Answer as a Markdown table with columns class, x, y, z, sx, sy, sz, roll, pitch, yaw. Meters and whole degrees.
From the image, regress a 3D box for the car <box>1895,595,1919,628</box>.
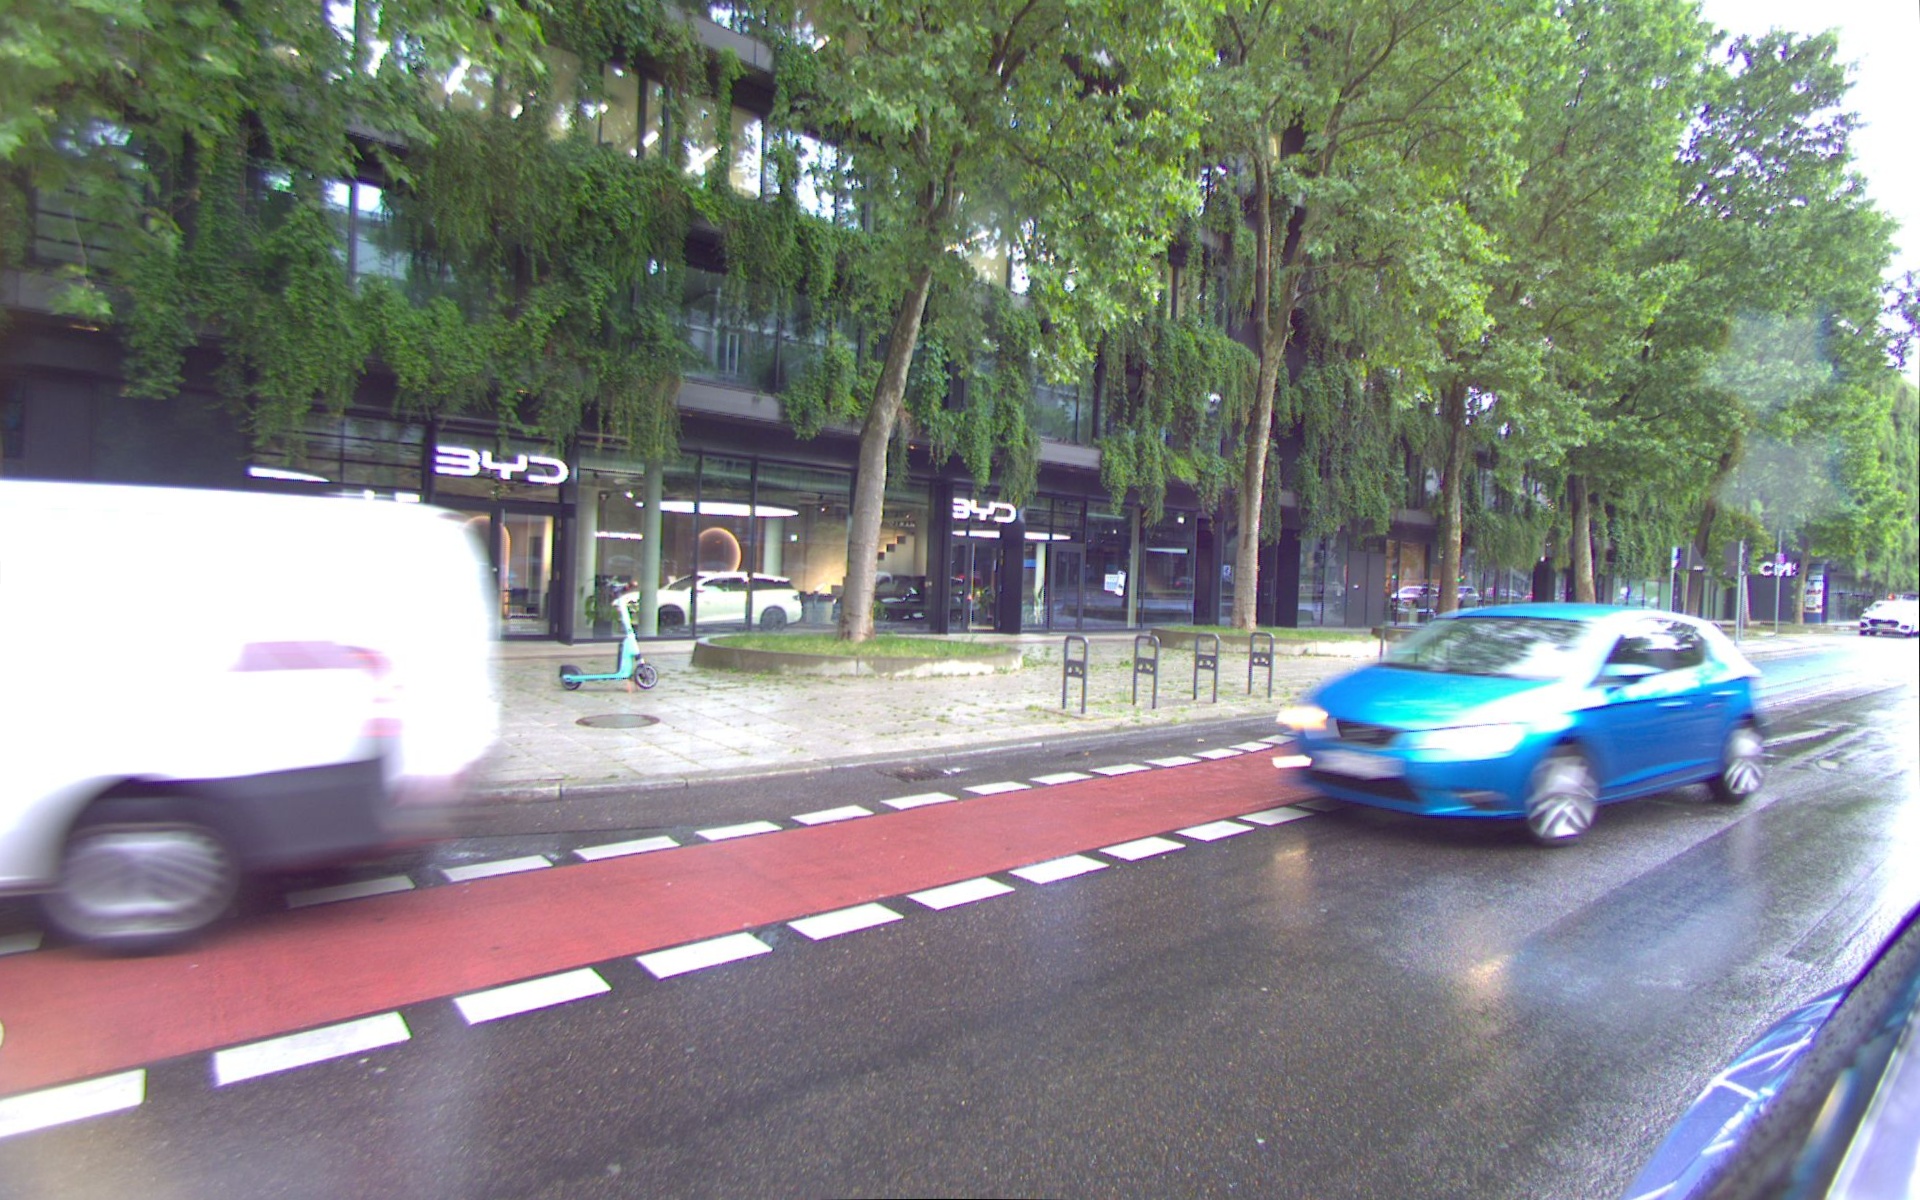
| class | x | y | z | sx | sy | sz | roll | pitch | yaw |
| --- | --- | --- | --- | --- | --- | --- | --- | --- | --- |
| car | 49.267 | 0.553 | 51.389 | 4.503 | 1.581 | 2.035 | -1 | 1 | -39 |

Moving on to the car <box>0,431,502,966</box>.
| class | x | y | z | sx | sy | sz | roll | pitch | yaw |
| --- | --- | --- | --- | --- | --- | --- | --- | --- | --- |
| car | -4.778 | 0.337 | 4.367 | 4.859 | 1.970 | 1.930 | 1 | 0 | -16 |

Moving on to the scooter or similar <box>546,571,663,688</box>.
| class | x | y | z | sx | sy | sz | roll | pitch | yaw |
| --- | --- | --- | --- | --- | --- | --- | --- | --- | --- |
| scooter or similar | -4.073 | 0.328 | 11.628 | 1.165 | 1.298 | 0.535 | 0 | 0 | 10 |

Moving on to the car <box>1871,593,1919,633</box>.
| class | x | y | z | sx | sy | sz | roll | pitch | yaw |
| --- | --- | --- | --- | --- | --- | --- | --- | --- | --- |
| car | 44.581 | 0.563 | 47.688 | 4.519 | 1.757 | 1.931 | -1 | 1 | -41 |

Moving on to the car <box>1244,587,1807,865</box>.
| class | x | y | z | sx | sy | sz | roll | pitch | yaw |
| --- | --- | --- | --- | --- | --- | --- | --- | --- | --- |
| car | 4.133 | 0.658 | 7.272 | 3.982 | 1.453 | 1.803 | -1 | 2 | -32 |
